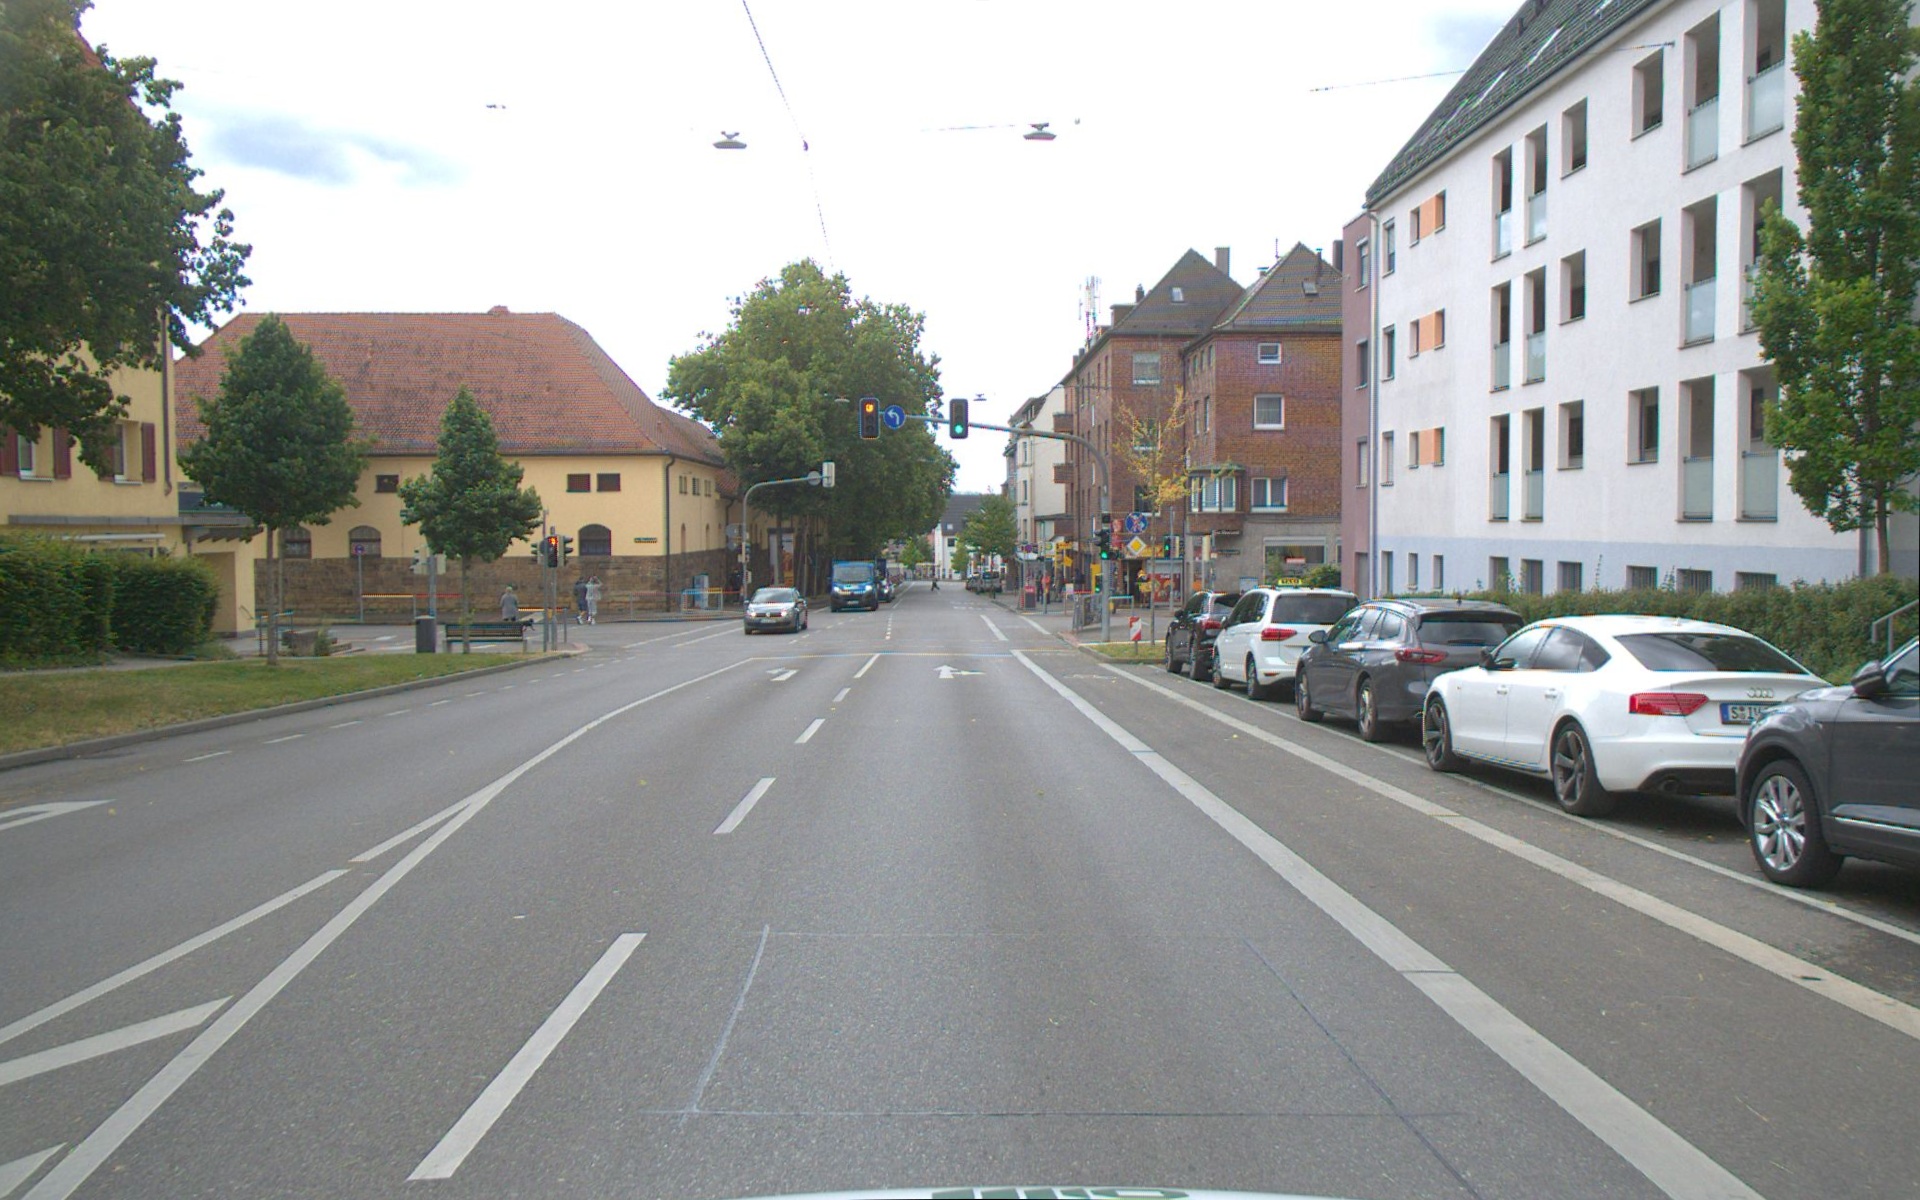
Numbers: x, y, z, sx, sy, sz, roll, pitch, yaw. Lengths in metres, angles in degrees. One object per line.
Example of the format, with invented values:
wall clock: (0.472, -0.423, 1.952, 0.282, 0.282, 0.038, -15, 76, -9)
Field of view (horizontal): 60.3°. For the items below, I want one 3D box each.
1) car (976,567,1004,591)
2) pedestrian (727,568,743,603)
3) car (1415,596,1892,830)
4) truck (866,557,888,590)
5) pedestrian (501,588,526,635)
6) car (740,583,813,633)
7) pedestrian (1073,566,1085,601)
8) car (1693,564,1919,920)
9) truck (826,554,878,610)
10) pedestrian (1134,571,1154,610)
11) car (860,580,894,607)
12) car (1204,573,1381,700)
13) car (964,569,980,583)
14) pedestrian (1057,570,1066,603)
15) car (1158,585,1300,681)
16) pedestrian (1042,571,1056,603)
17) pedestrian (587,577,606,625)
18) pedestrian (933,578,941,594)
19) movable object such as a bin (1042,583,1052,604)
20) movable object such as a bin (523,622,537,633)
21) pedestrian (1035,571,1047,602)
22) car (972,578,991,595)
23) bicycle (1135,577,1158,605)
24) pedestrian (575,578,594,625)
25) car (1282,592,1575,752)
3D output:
car: (2.481, -1.746, 139.020, 1.954, 1.969, 4.915, 0, 1, -4)
pedestrian: (-11.602, -0.754, 85.298, 0.660, 1.796, 0.726, 0, 0, 2)
car: (5.132, 0.732, 13.003, 1.695, 1.438, 4.498, 1, 1, -2)
truck: (-8.760, -2.809, 175.076, 2.186, 3.404, 7.447, 0, 1, -2)
pedestrian: (-15.247, 0.396, 56.493, 0.552, 1.594, 0.843, 0, 1, 4)
car: (-6.005, 0.237, 54.512, 1.719, 1.498, 4.308, -1, 1, 3)
pedestrian: (6.039, -0.828, 83.900, 0.633, 1.780, 0.778, 0, 1, 4)
car: (5.342, 0.686, 7.757, 1.600, 1.679, 4.352, 1, 1, -4)
truck: (-5.005, -0.843, 76.942, 2.250, 2.469, 6.407, -1, 1, -4)
pedestrian: (8.181, -0.427, 73.568, 0.772, 1.685, 0.772, -2, 1, -1)
car: (-4.749, -0.408, 94.745, 1.668, 1.439, 4.193, -1, 1, 1)
car: (4.997, 0.479, 25.465, 1.625, 1.745, 4.550, 1, 1, -2)
car: (1.374, -2.782, 192.292, 1.635, 1.574, 3.754, 0, 1, -4)
pedestrian: (5.557, -0.739, 90.759, 0.469, 1.796, 0.458, 0, 0, -1)
car: (4.881, 0.569, 30.612, 1.700, 1.616, 4.571, 1, 0, -2)
pedestrian: (4.652, -0.692, 86.757, 0.553, 1.665, 0.681, 0, 1, 19)
pedestrian: (-13.729, 0.031, 62.524, 0.552, 1.808, 0.717, 0, 1, -2)
pedestrian: (-2.206, -1.362, 158.323, 0.661, 1.563, 0.609, 0, 1, -15)
movable object such as a bin: (4.570, -0.345, 86.558, 0.443, 1.075, 0.410, 0, 0, 19)
movable object such as a bin: (-15.092, 0.964, 58.047, 0.300, 0.353, 0.581, 0, 1, 4)
pedestrian: (4.598, -0.770, 94.260, 0.656, 1.758, 0.764, 0, 1, 4)
car: (2.131, -1.330, 162.858, 1.635, 1.574, 3.754, 0, 1, -4)
bicycle: (8.267, -0.405, 73.444, 0.744, 1.214, 2.391, 0, 1, -1)
pedestrian: (-14.356, 0.056, 63.222, 0.552, 1.808, 0.842, 0, 1, -1)
car: (5.084, 0.695, 18.697, 1.710, 1.493, 4.947, 1, 1, -2)
